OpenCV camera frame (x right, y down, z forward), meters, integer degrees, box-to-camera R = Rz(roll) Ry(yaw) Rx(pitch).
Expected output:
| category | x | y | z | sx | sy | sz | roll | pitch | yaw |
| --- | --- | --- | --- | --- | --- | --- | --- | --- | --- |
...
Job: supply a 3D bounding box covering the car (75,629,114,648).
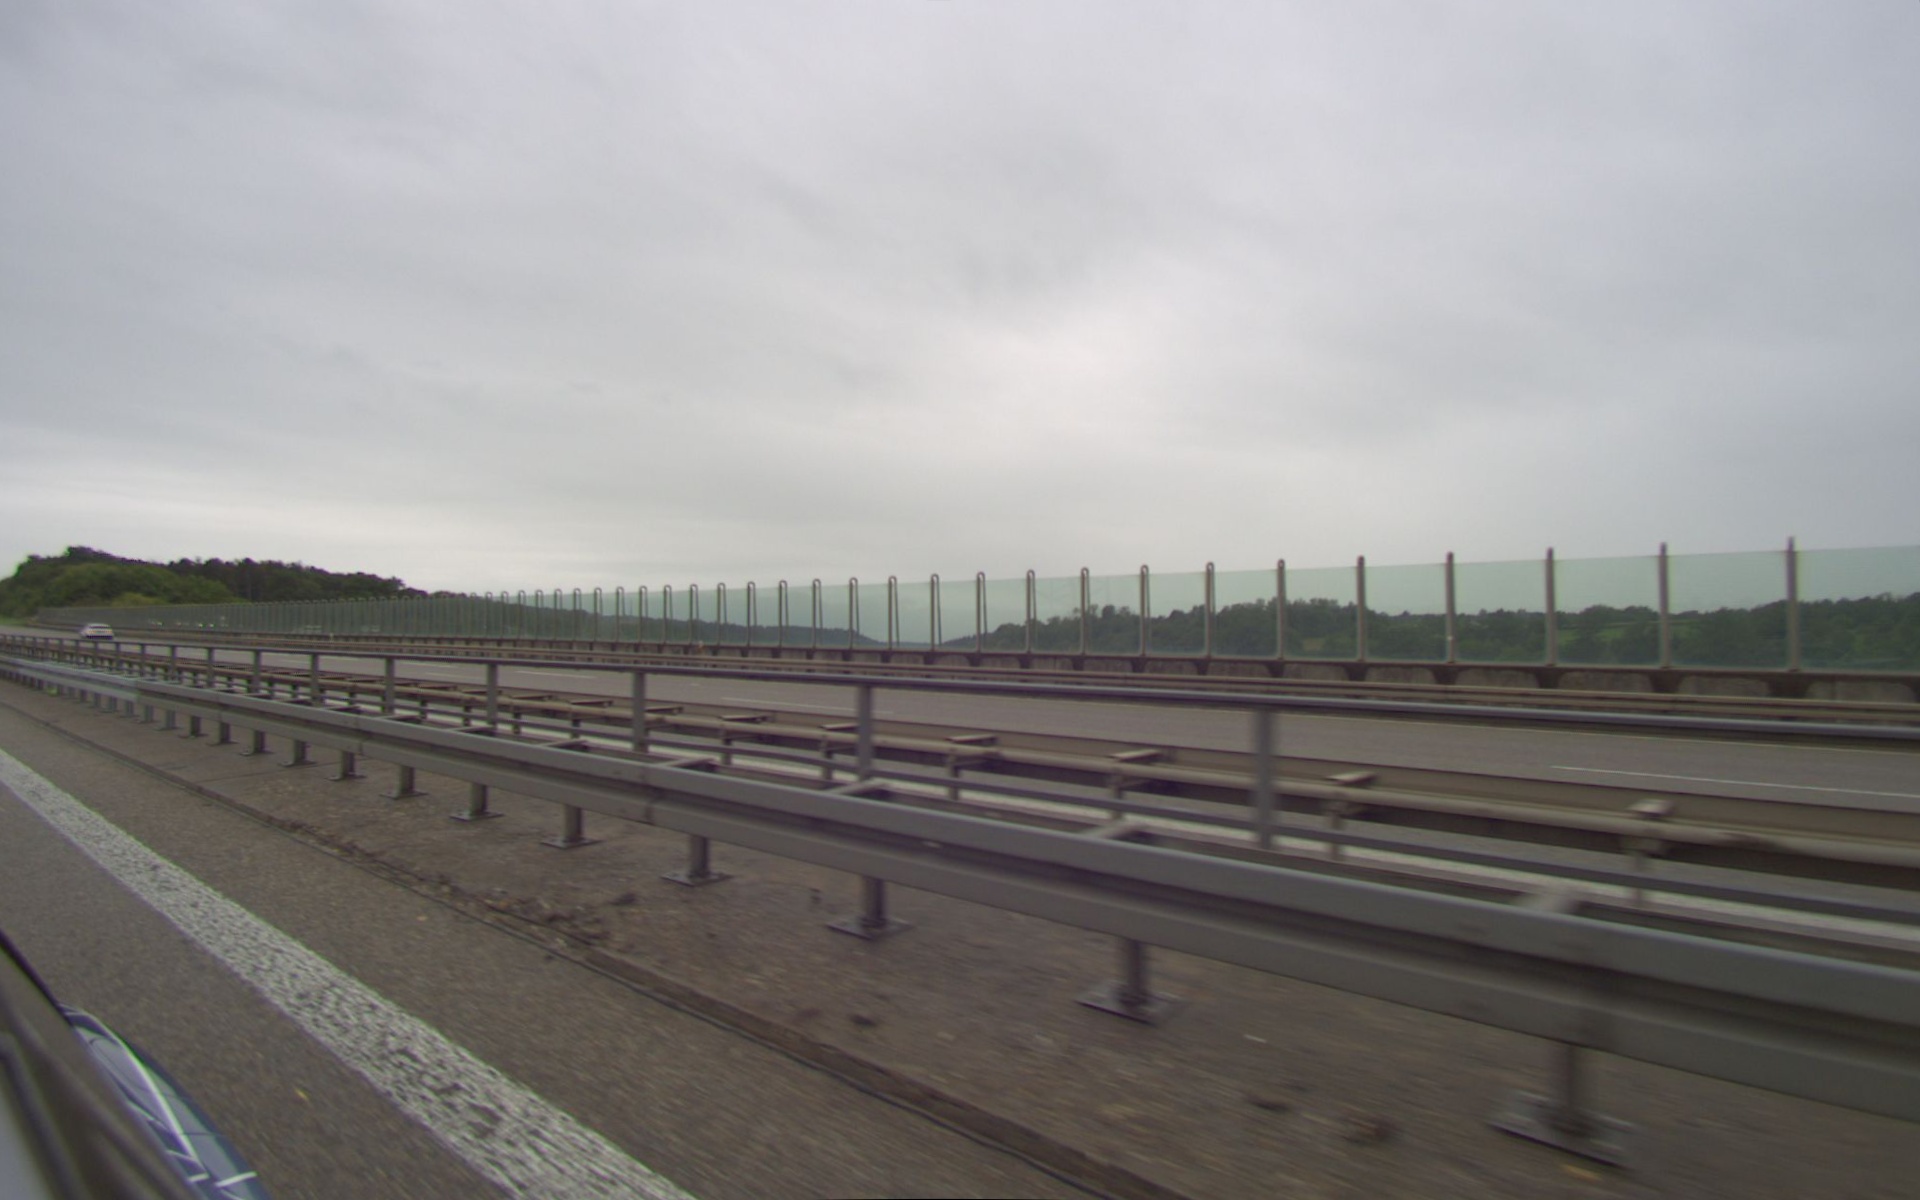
| category | x | y | z | sx | sy | sz | roll | pitch | yaw |
| --- | --- | --- | --- | --- | --- | --- | --- | --- | --- |
| car | -77.772 | 3.410 | 90.944 | 4.711 | 1.642 | 1.973 | -1 | -2 | 41 |
